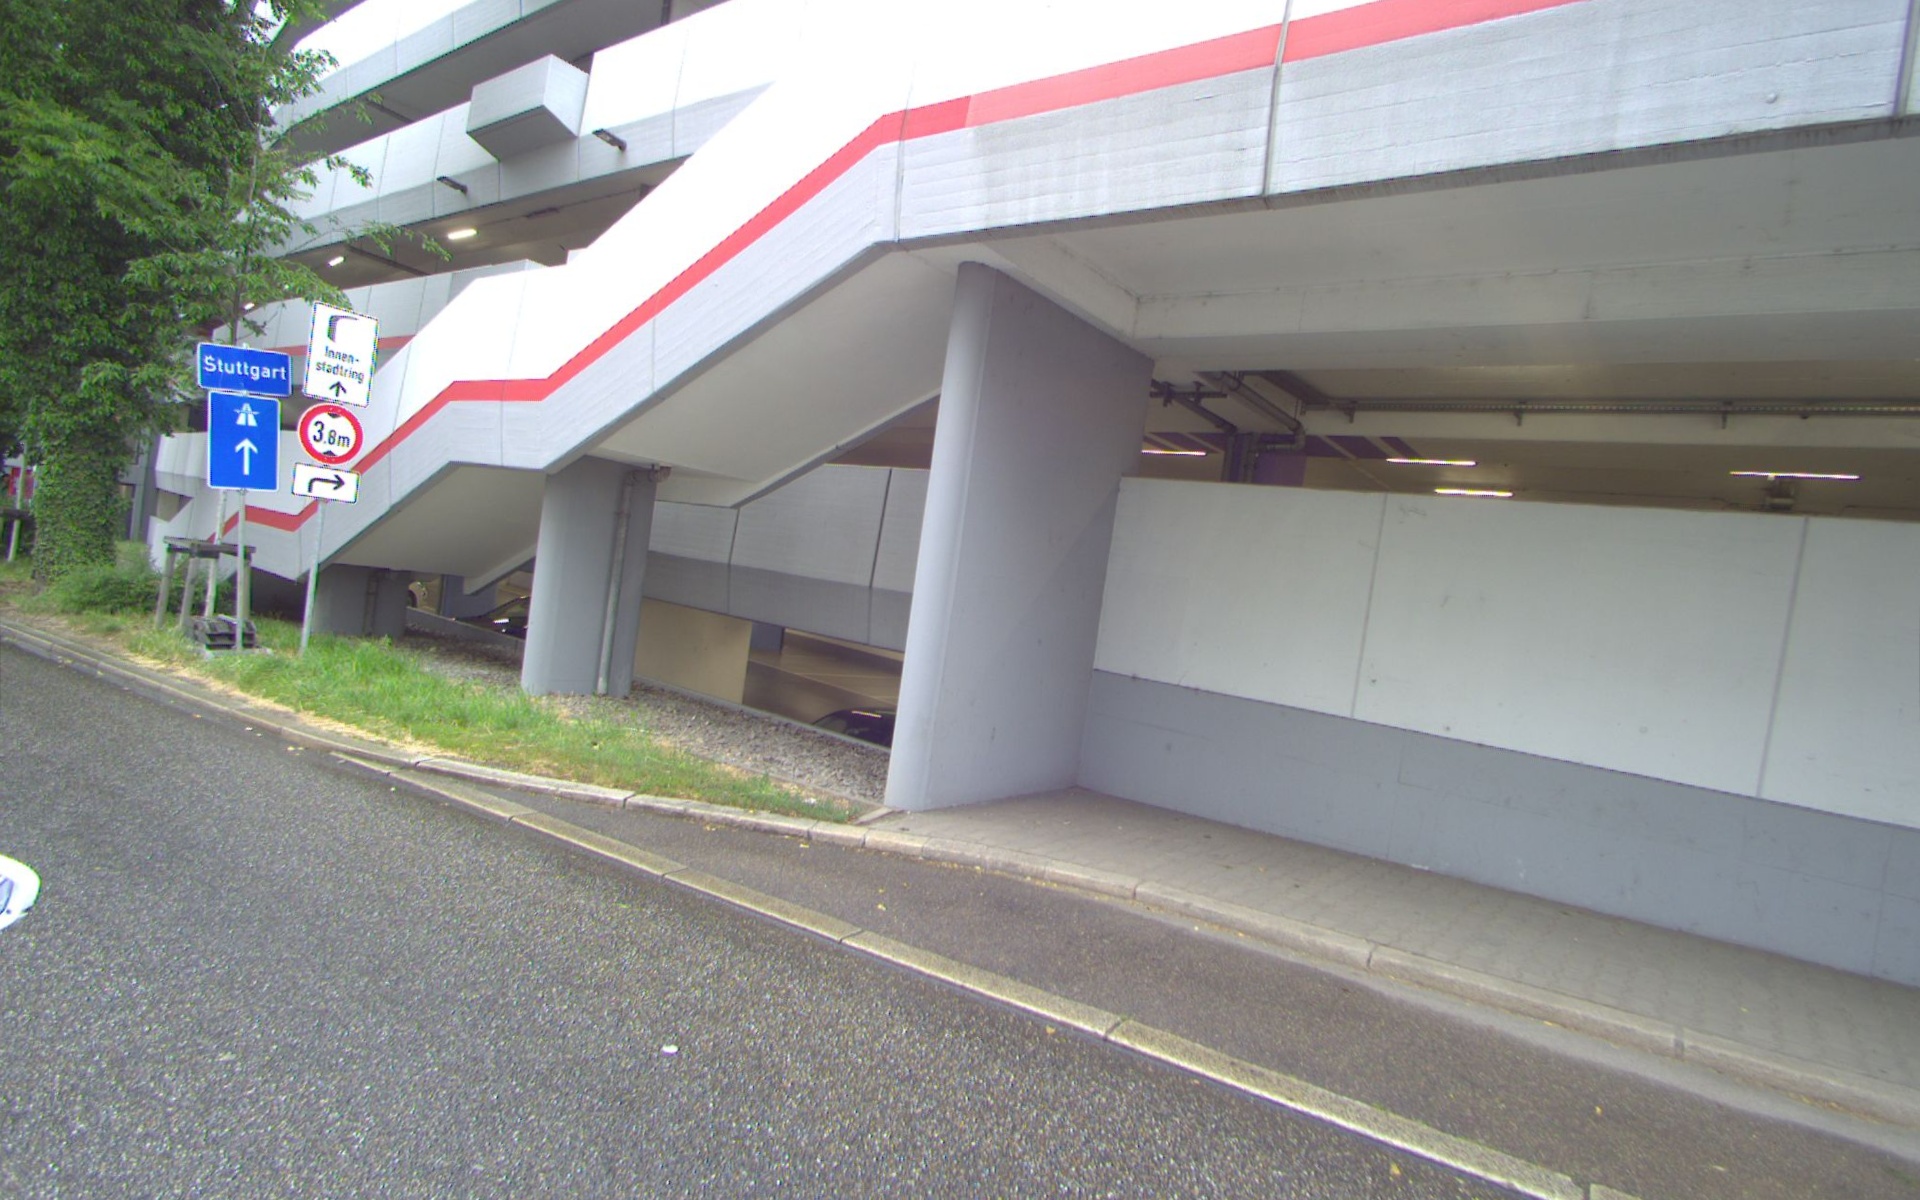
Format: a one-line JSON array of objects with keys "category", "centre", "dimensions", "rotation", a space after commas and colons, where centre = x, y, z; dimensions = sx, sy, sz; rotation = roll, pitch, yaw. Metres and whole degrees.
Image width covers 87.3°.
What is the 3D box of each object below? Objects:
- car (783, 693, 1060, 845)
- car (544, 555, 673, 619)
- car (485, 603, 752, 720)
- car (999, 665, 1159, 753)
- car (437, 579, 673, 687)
[{"category": "car", "centre": [-0.426, 2.356, 14.745], "dimensions": [1.810, 1.559, 3.931], "rotation": [11, 2, 37]}, {"category": "car", "centre": [-12.923, -0.455, 37.163], "dimensions": [1.792, 1.804, 3.979], "rotation": [7, 0, 44]}, {"category": "car", "centre": [-5.834, 1.131, 17.619], "dimensions": [1.810, 1.643, 3.988], "rotation": [7, -1, 36]}, {"category": "car", "centre": [2.881, 2.560, 23.716], "dimensions": [1.810, 1.559, 3.988], "rotation": [11, 2, 37]}, {"category": "car", "centre": [-7.786, 0.700, 19.601], "dimensions": [1.782, 1.559, 3.734], "rotation": [11, 2, 37]}]
